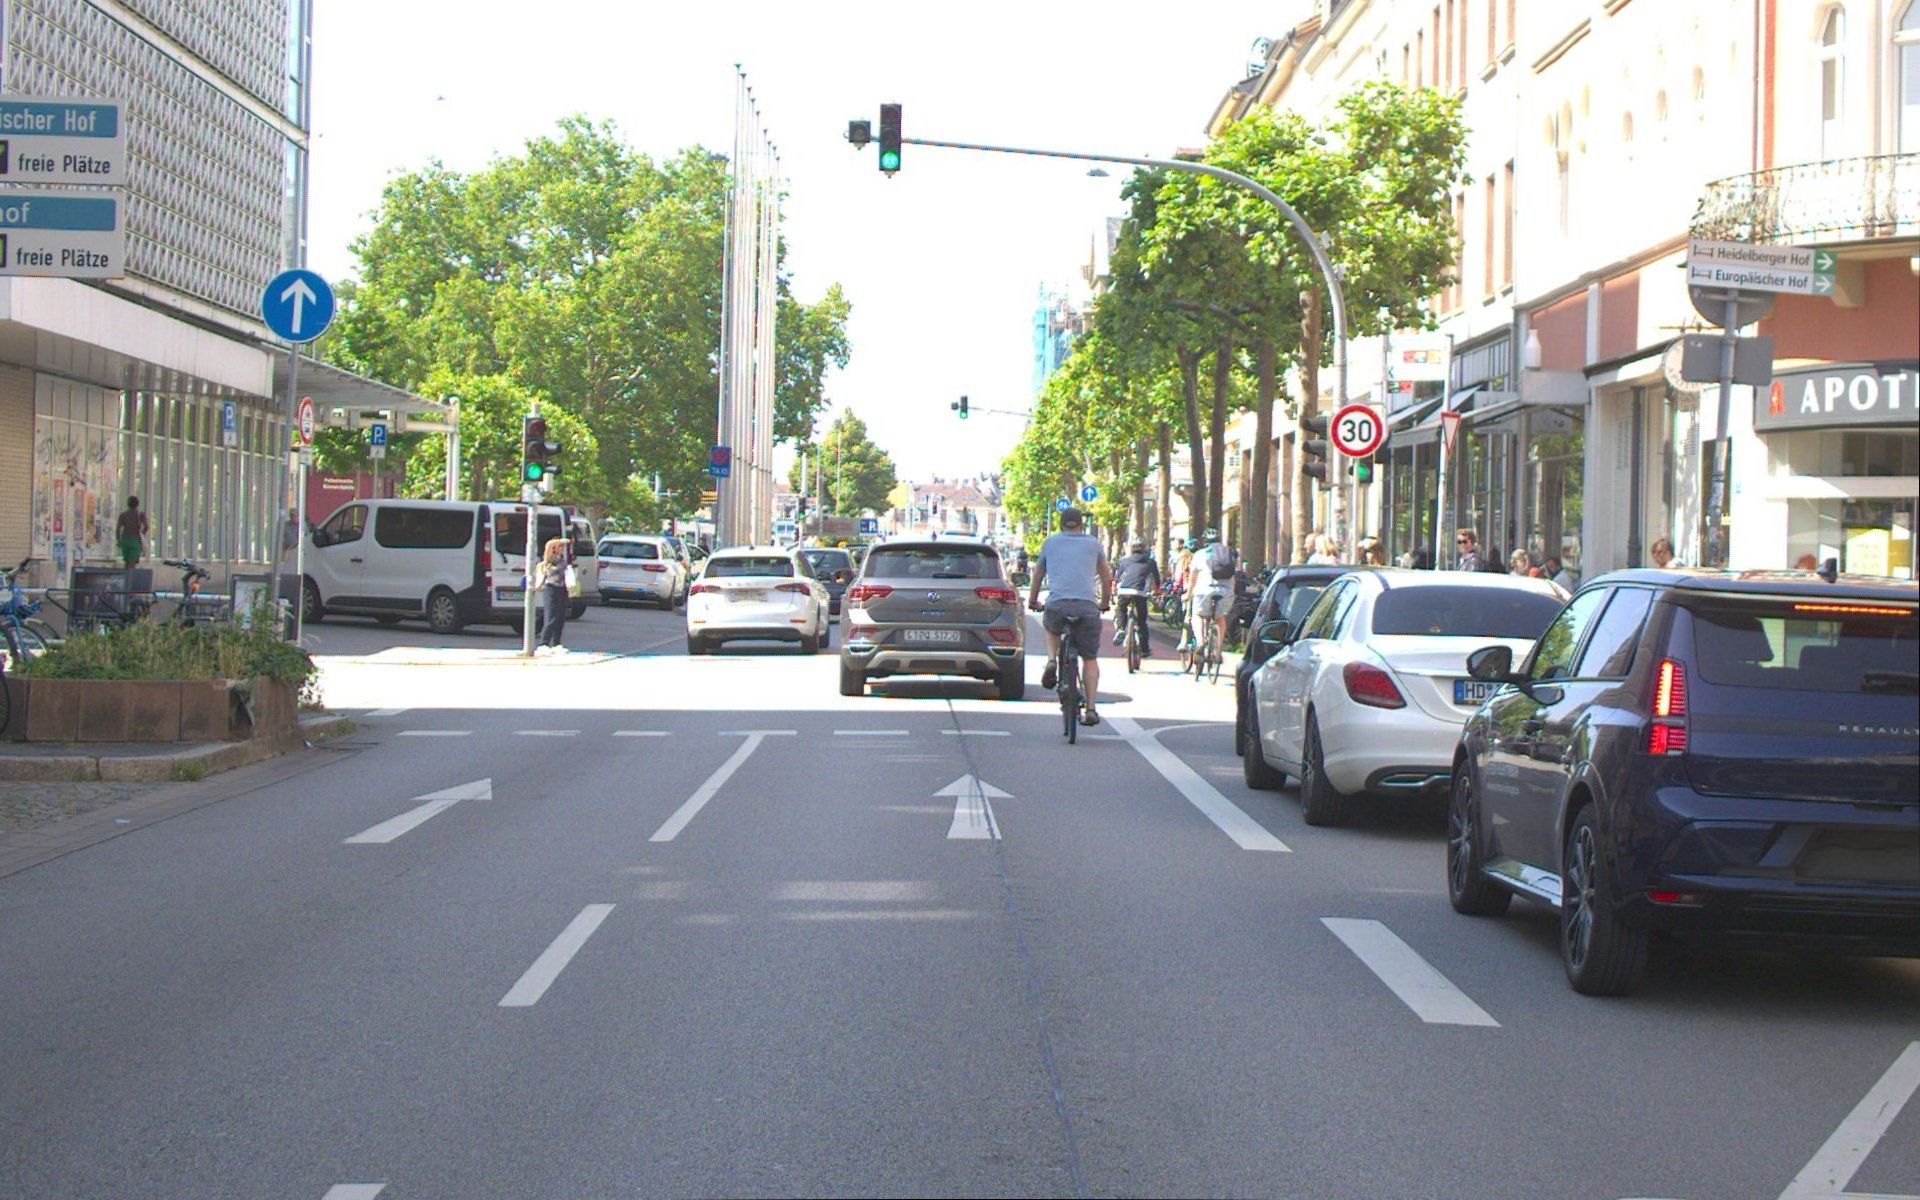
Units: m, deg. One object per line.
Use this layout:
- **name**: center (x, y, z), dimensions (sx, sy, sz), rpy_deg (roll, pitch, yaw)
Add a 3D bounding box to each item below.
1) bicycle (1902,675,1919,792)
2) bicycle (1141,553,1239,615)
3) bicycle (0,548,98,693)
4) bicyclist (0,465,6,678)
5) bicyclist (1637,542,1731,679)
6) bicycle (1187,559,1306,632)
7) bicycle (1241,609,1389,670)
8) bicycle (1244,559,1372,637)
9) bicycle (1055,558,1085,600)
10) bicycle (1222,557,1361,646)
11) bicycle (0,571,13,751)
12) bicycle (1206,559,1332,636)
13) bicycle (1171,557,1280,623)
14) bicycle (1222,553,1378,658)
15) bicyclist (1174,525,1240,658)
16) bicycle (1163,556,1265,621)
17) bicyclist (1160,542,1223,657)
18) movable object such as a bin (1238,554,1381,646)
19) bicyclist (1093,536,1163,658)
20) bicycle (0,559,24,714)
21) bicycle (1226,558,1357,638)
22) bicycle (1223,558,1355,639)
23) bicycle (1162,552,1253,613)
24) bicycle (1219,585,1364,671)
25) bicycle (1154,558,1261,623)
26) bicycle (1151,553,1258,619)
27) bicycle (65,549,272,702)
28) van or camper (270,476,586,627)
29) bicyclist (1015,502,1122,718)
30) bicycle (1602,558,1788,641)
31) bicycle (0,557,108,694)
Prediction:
- **bicycle**: center (10.530, 1.376, 33.364), dimensions (2.568, 1.123, 0.627), rpy_deg (3, -4, 23)
- **bicycle**: center (4.618, -0.327, 69.015), dimensions (1.839, 1.123, 0.497), rpy_deg (3, 2, -8)
- **bicycle**: center (-8.096, 0.151, 28.610), dimensions (2.062, 1.165, 0.604), rpy_deg (1, 0, 37)
- **bicyclist**: center (-9.262, -0.265, 31.168), dimensions (0.842, 1.953, 1.017), rpy_deg (1, 1, 6)
- **bicyclist**: center (7.535, 0.109, 35.816), dimensions (0.859, 1.406, 0.501), rpy_deg (1, 1, 1)
- **bicycle**: center (4.517, -0.069, 54.269), dimensions (1.840, 1.123, 0.530), rpy_deg (1, 0, 2)
- **bicycle**: center (4.785, 0.542, 46.462), dimensions (1.136, 0.432, 1.856), rpy_deg (-10, -3, -26)
- **bicycle**: center (5.168, -0.032, 51.169), dimensions (1.840, 1.123, 0.666), rpy_deg (1, 0, 2)
- **bicycle**: center (2.663, -0.518, 83.365), dimensions (0.647, 0.994, 2.031), rpy_deg (1, 1, 0)
- **bicycle**: center (4.628, 0.014, 48.058), dimensions (1.841, 1.123, 0.345), rpy_deg (4, 2, 15)
- **bicycle**: center (-7.068, 0.337, 21.455), dimensions (2.140, 1.123, 0.485), rpy_deg (3, 2, 1)
- **bicycle**: center (4.643, -0.042, 51.715), dimensions (1.840, 1.123, 0.643), rpy_deg (1, 0, 2)
- **bicycle**: center (4.630, -0.174, 59.963), dimensions (1.843, 1.123, 0.447), rpy_deg (1, 0, 28)
- **bicycle**: center (4.398, 0.057, 44.527), dimensions (1.855, 1.184, 0.715), rpy_deg (6, 5, 38)
- **bicyclist**: center (2.797, -0.106, 39.033), dimensions (0.630, 1.476, 1.198), rpy_deg (1, 1, -1)
- **bicycle**: center (4.510, -0.203, 60.993), dimensions (1.840, 1.123, 0.594), rpy_deg (1, 0, -36)
- **bicyclist**: center (2.800, -0.007, 41.660), dimensions (0.600, 1.353, 0.721), rpy_deg (3, 0, -4)
- **movable object such as a bin**: center (4.930, -0.010, 48.498), dimensions (1.852, 1.185, 0.652), rpy_deg (4, 1, 15)
- **bicyclist**: center (2.033, -0.037, 41.725), dimensions (0.698, 1.436, 0.791), rpy_deg (3, 1, -3)
- **bicycle**: center (-7.970, 0.209, 25.508), dimensions (2.060, 1.123, 0.561), rpy_deg (4, 2, 25)
- **bicycle**: center (4.823, -0.028, 50.138), dimensions (1.840, 1.123, 0.666), rpy_deg (1, 0, 2)
- **bicycle**: center (4.725, -0.021, 49.345), dimensions (1.840, 1.123, 0.666), rpy_deg (1, 0, 7)
- **bicycle**: center (5.095, -0.356, 70.677), dimensions (1.774, 1.193, 0.578), rpy_deg (2, 1, -27)
- **bicycle**: center (4.553, 0.385, 47.263), dimensions (1.851, 0.395, 1.019), rpy_deg (9, -34, 4)
- **bicycle**: center (4.482, -0.183, 62.348), dimensions (1.840, 1.089, 0.564), rpy_deg (3, 0, 0)
- **bicycle**: center (4.586, -0.258, 64.560), dimensions (1.839, 1.123, 0.632), rpy_deg (3, 0, -10)
- **bicycle**: center (-6.495, 0.198, 28.139), dimensions (2.063, 1.169, 0.603), rpy_deg (3, 0, 45)
- **van or camper**: center (-7.990, -0.739, 51.419), dimensions (4.656, 2.006, 1.995), rpy_deg (4, 2, 39)
- **bicyclist**: center (0.830, 0.069, 26.589), dimensions (0.774, 1.629, 0.851), rpy_deg (1, 1, 0)
- **bicycle**: center (7.644, -0.008, 35.802), dimensions (1.821, 0.841, 0.501), rpy_deg (1, 1, 1)
- **bicycle**: center (-8.805, 0.212, 31.063), dimensions (1.987, 1.122, 0.799), rpy_deg (1, 6, 7)
